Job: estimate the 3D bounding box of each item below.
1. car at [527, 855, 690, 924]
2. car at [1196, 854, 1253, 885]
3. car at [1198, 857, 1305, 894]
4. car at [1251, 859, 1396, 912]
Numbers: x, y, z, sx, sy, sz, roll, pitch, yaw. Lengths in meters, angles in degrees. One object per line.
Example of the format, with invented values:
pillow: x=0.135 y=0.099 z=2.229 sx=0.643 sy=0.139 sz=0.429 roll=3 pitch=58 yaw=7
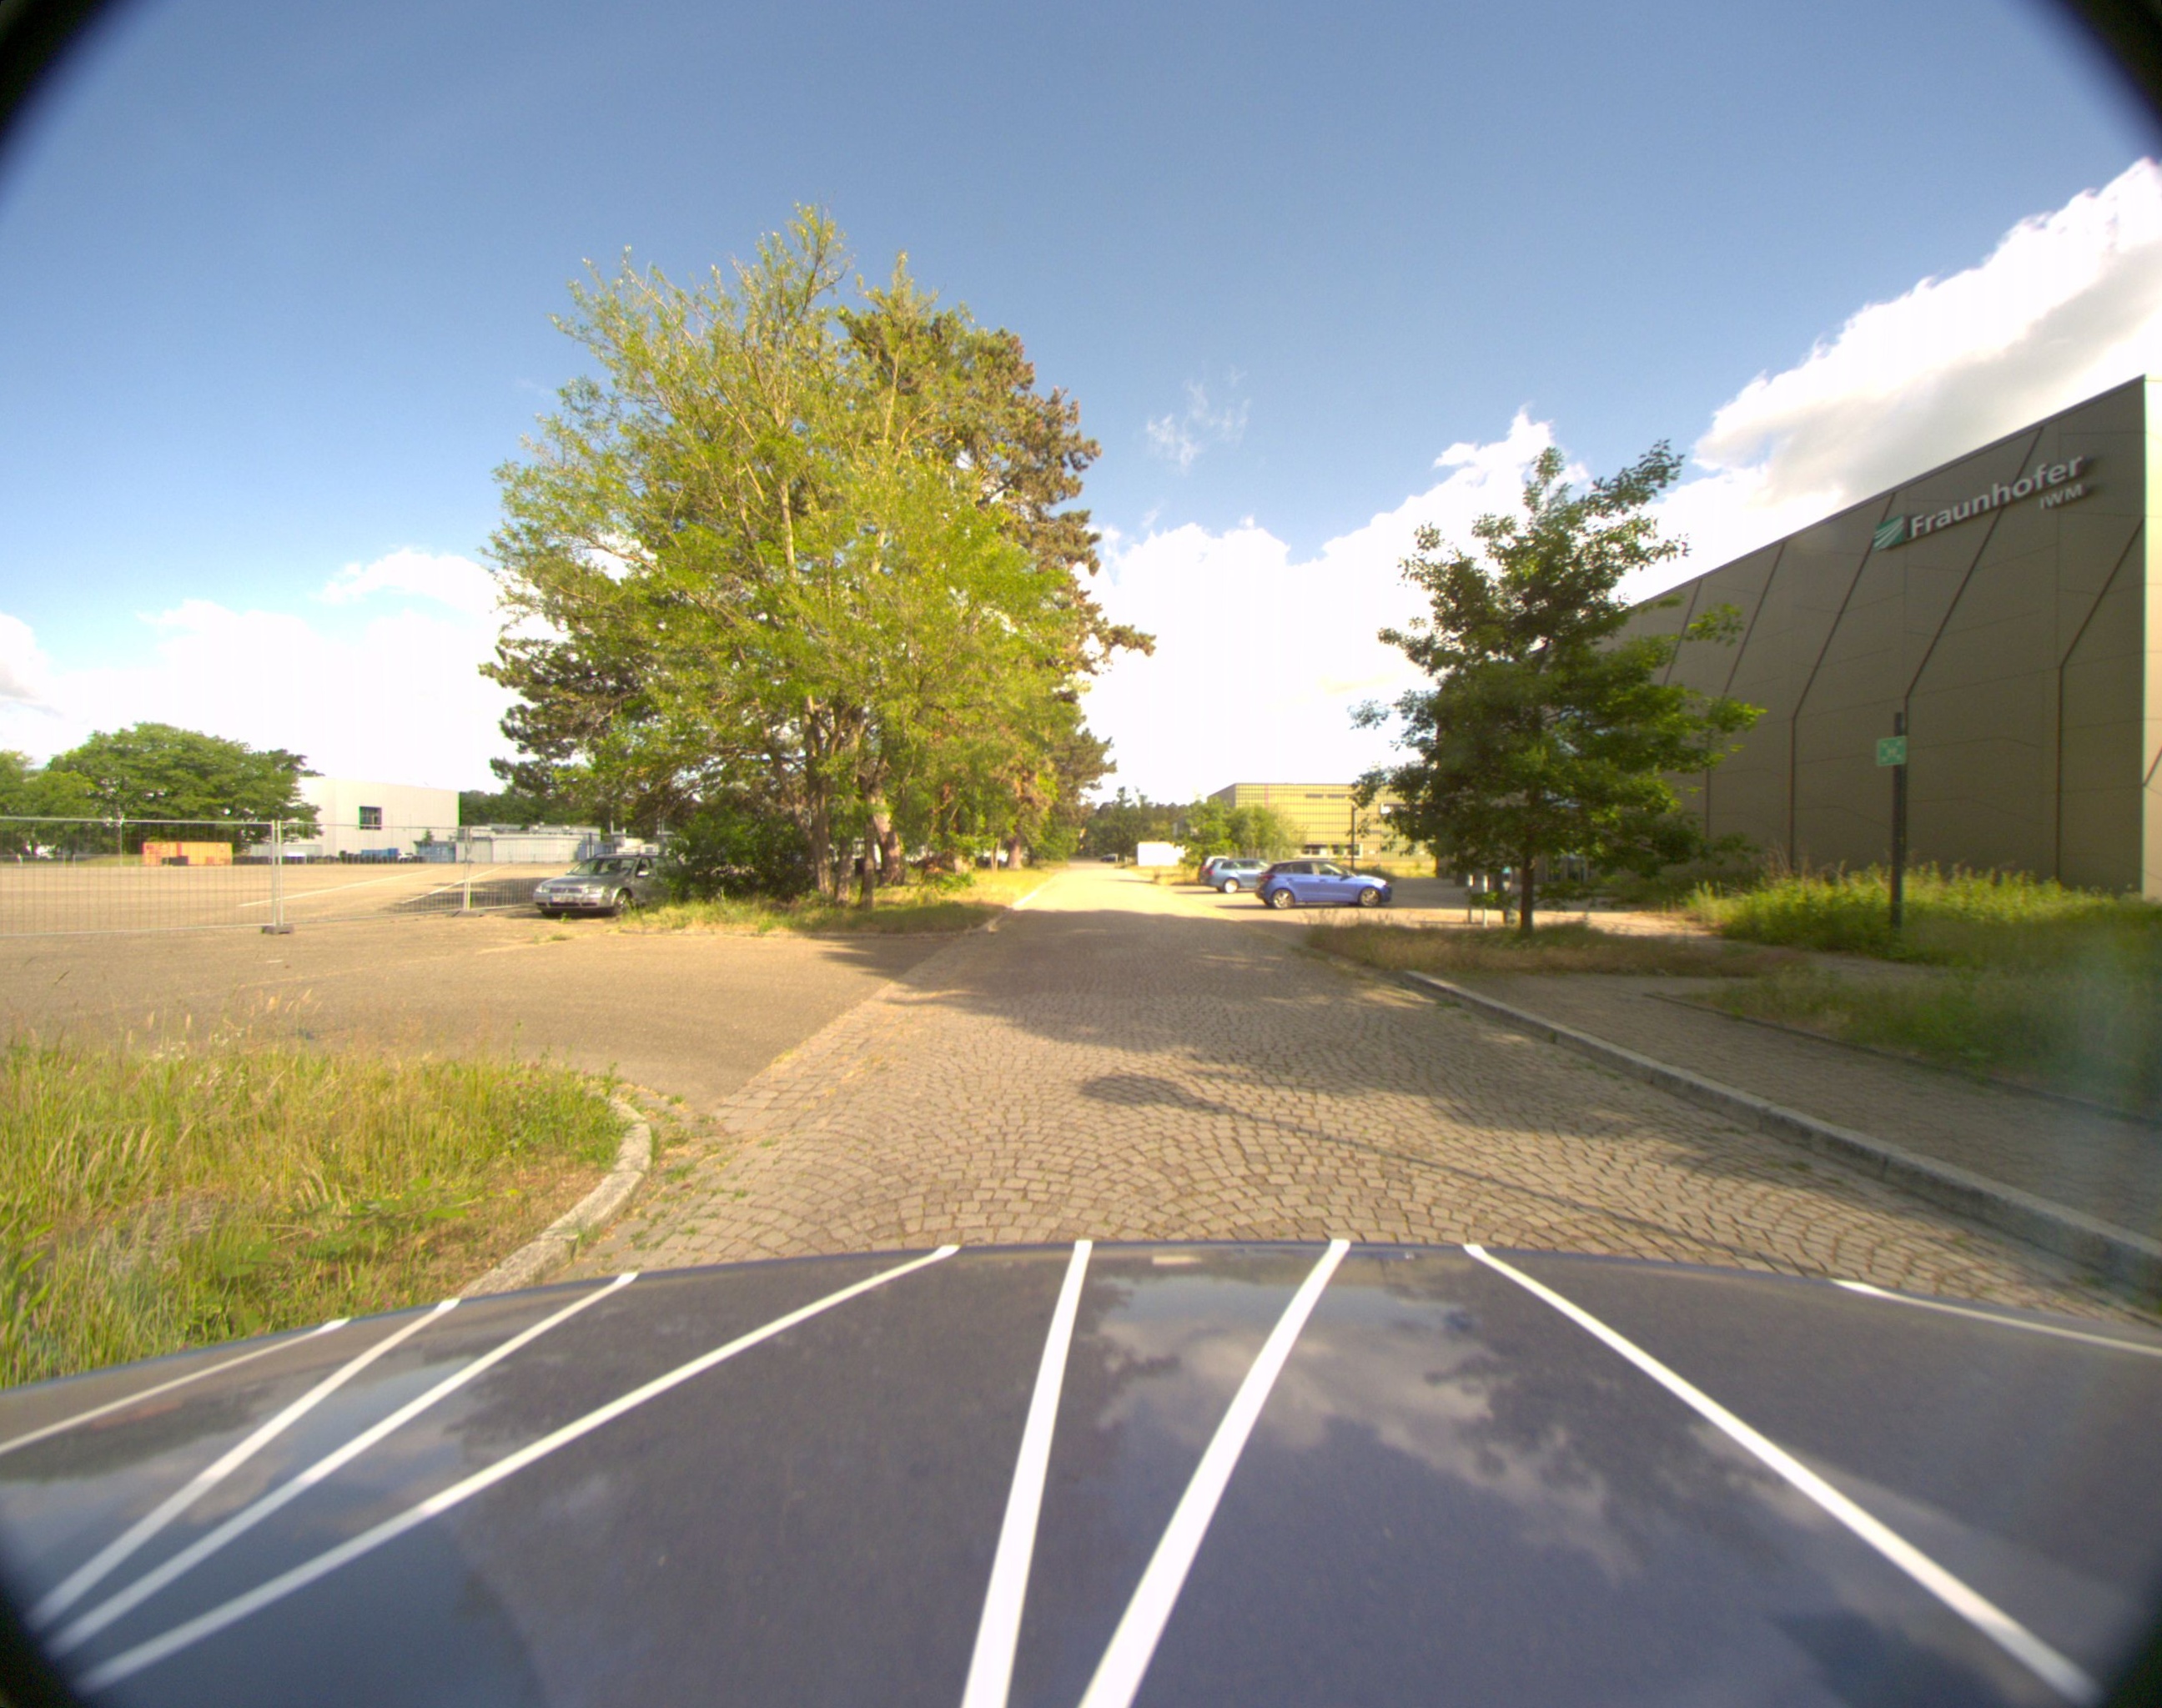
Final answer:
car: x=-11.163 y=0.772 z=18.311 sx=1.579 sy=1.435 sz=3.985 roll=0 pitch=0 yaw=-3
car: x=7.561 y=0.816 z=40.176 sx=2.652 sy=1.559 sz=1.481 roll=-1 pitch=1 yaw=-1
car: x=7.320 y=0.888 z=32.818 sx=4.180 sy=1.465 sz=1.734 roll=-1 pitch=0 yaw=-2
car: x=7.359 y=0.941 z=23.332 sx=3.918 sy=1.459 sz=1.735 roll=-1 pitch=0 yaw=3
